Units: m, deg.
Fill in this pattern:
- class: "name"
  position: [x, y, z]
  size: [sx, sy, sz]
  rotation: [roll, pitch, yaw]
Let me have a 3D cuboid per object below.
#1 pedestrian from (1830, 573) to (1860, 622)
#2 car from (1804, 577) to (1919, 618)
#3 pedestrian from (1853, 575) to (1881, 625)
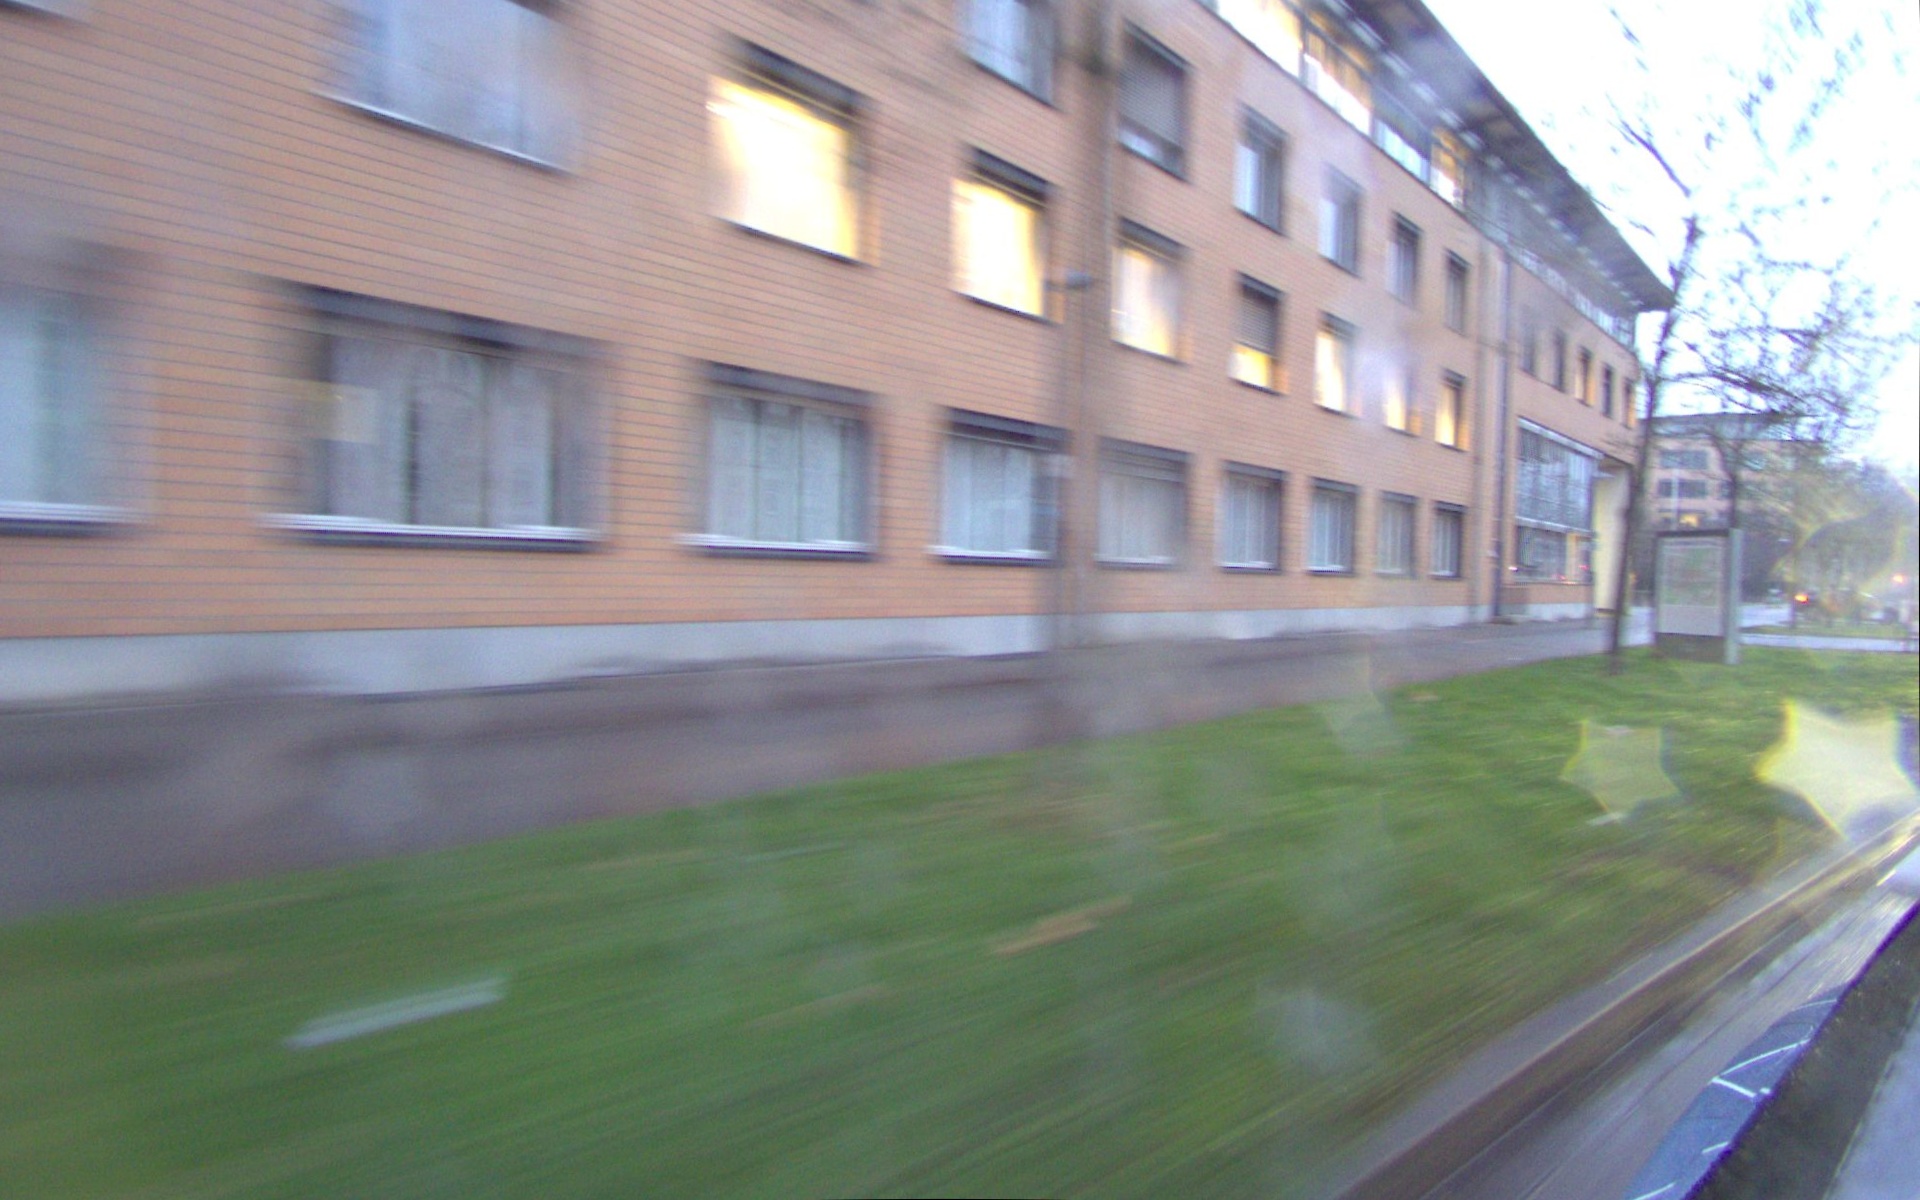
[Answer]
- class: "pedestrian"
  position: [32.471, -0.103, 37.137]
  size: [0.498, 1.763, 0.655]
  rotation: [2, 2, 12]
- class: "car"
  position: [40.374, -0.130, 45.125]
  size: [1.713, 1.574, 3.992]
  rotation: [-1, 4, -43]
- class: "pedestrian"
  position: [34.480, 0.001, 38.490]
  size: [0.499, 1.847, 0.654]
  rotation: [2, 2, 19]
